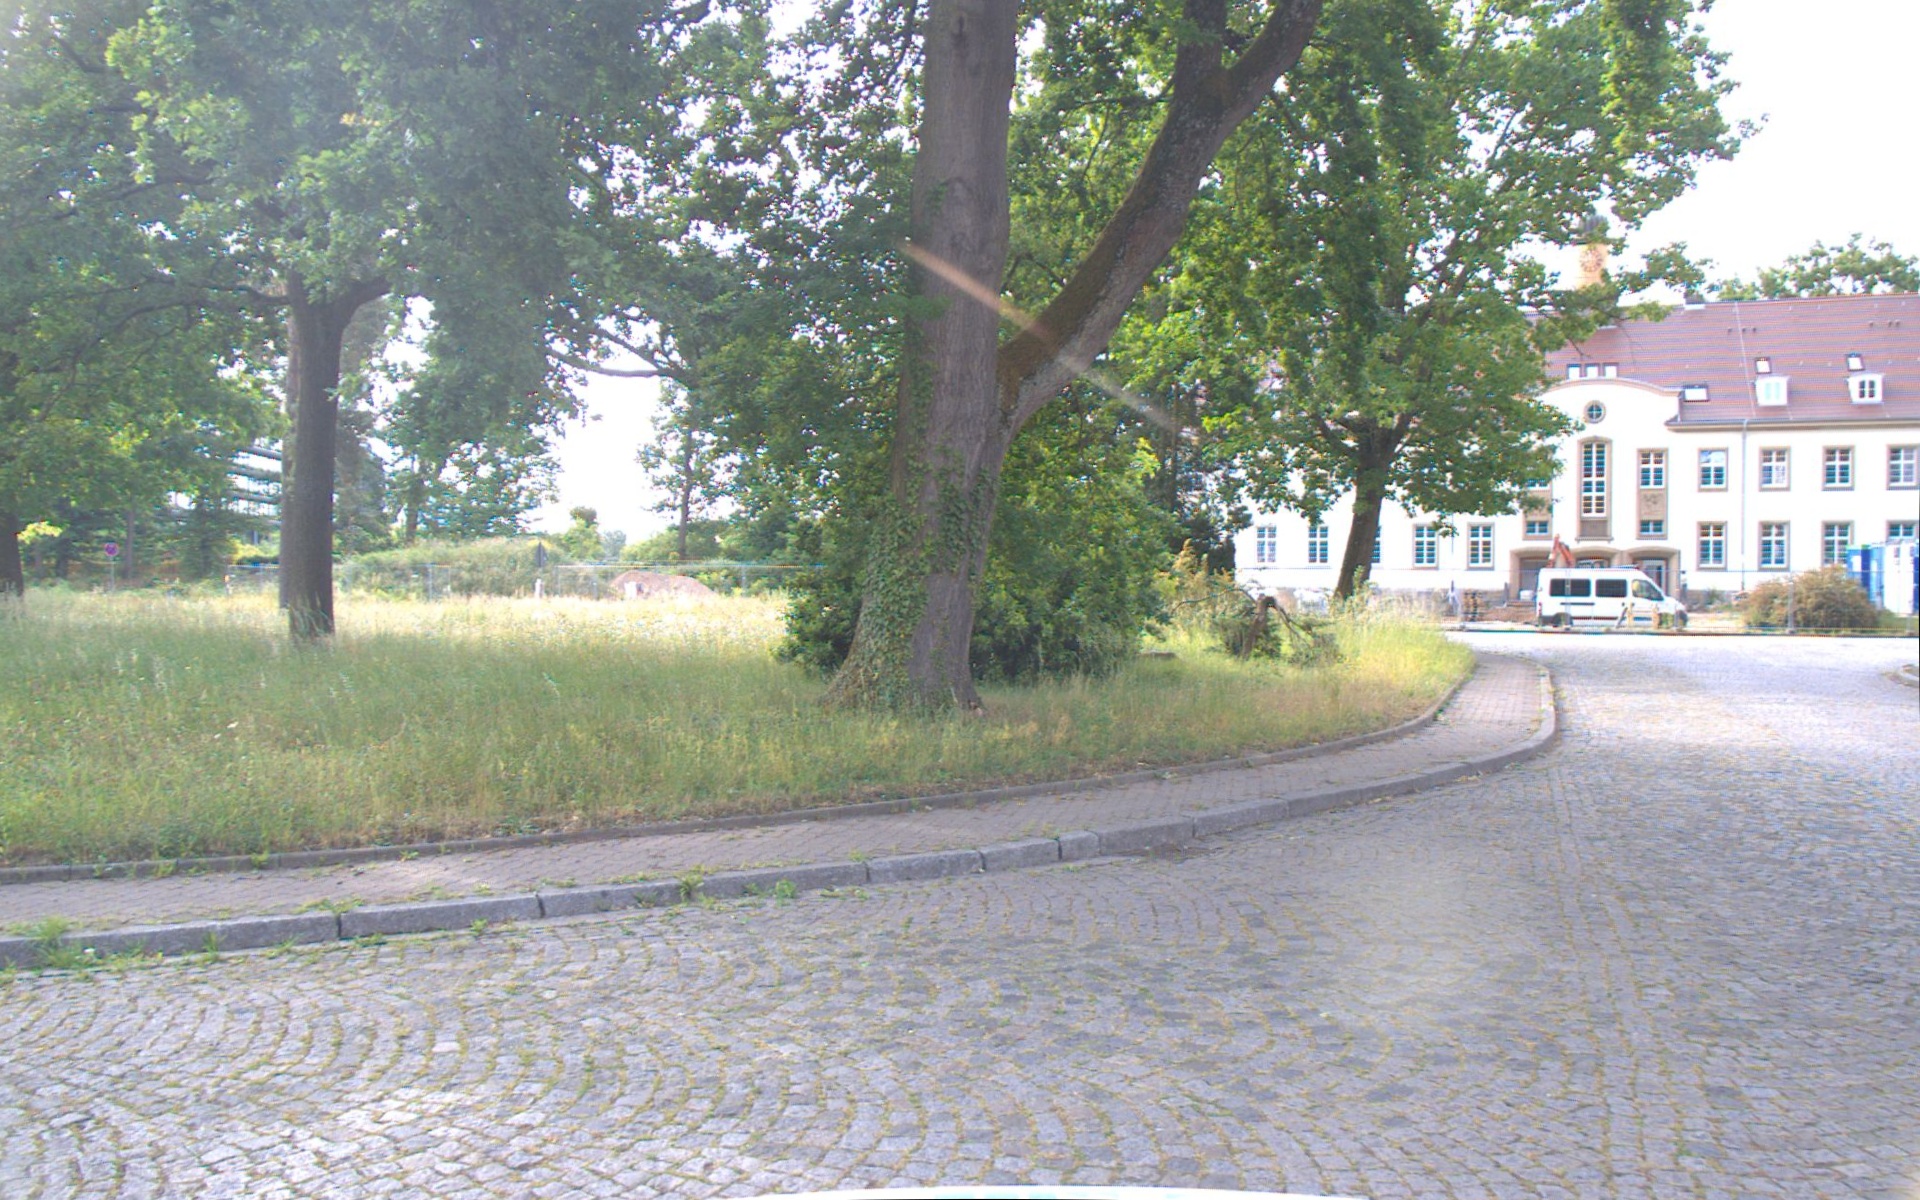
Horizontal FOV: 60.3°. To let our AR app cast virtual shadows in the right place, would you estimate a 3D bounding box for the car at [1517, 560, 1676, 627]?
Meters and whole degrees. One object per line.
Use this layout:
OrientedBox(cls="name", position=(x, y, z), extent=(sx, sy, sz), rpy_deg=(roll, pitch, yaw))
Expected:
OrientedBox(cls="car", position=(23.633, -0.281, 61.668), extent=(5.399, 2.245, 2.128), rpy_deg=(1, 4, 20))
